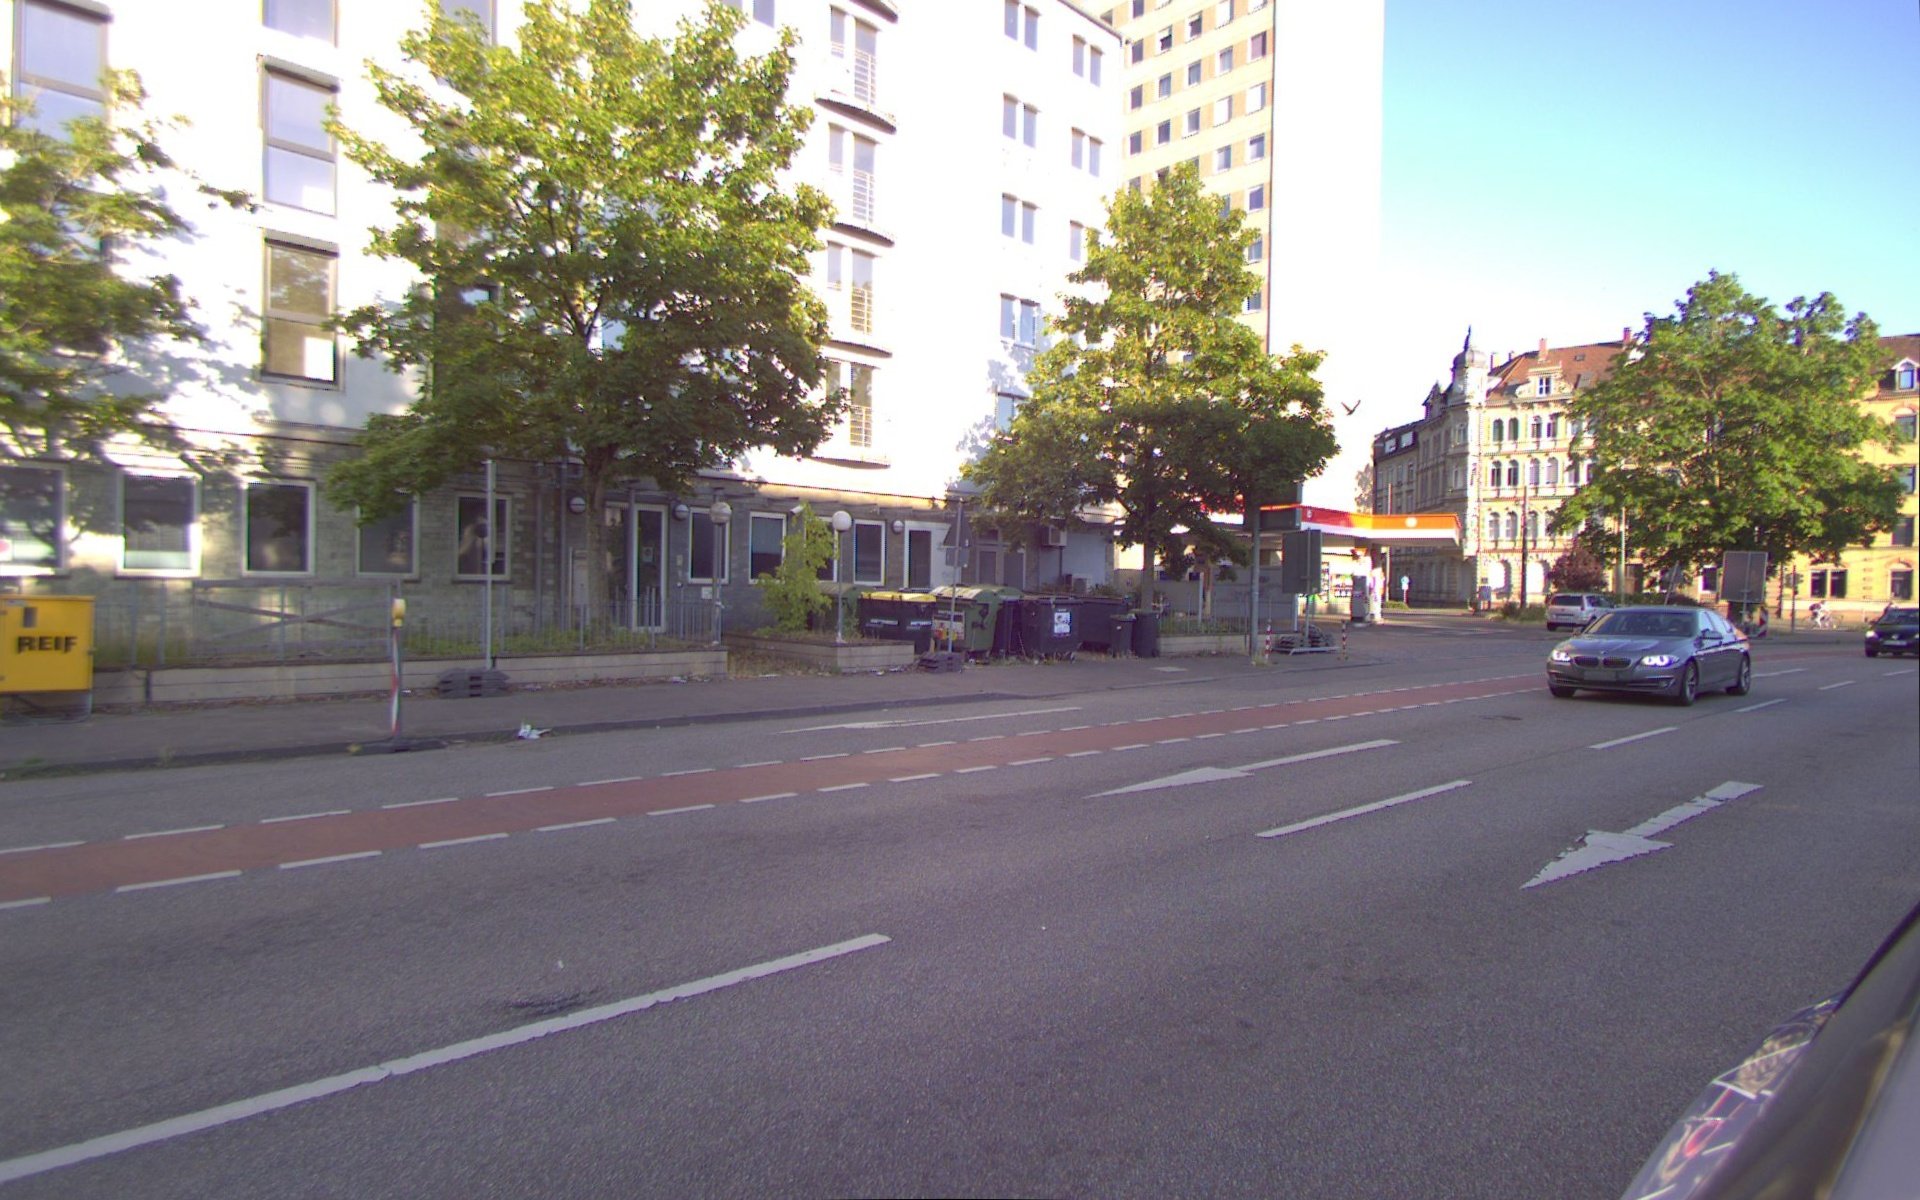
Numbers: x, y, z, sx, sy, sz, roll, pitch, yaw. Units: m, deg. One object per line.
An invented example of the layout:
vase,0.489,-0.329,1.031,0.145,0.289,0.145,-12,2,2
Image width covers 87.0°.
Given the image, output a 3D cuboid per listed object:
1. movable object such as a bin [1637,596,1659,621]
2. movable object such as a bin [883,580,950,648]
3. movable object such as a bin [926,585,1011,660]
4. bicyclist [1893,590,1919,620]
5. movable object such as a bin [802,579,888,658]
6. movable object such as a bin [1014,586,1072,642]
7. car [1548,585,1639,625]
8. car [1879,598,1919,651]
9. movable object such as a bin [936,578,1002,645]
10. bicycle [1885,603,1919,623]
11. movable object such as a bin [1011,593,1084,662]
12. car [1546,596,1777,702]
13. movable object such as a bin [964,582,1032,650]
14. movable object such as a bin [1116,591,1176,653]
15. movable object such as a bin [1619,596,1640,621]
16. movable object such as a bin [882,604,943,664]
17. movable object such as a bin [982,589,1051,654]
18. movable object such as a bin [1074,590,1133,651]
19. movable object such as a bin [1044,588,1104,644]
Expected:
movable object such as a bin,29.081,0.374,42.789,0.675,1.031,0.544,0,1,-36
movable object such as a bin,-1.006,0.300,23.321,1.143,1.517,1.033,0,1,-44
movable object such as a bin,0.168,0.420,20.516,1.088,1.441,1.348,0,1,-45
bicyclist,53.427,0.263,57.150,1.062,1.670,0.721,2,1,43
movable object such as a bin,-2.288,0.341,20.101,1.088,1.479,1.348,0,1,-45
movable object such as a bin,2.060,0.332,25.044,1.080,1.345,0.954,0,1,-44
car,25.430,0.167,40.597,3.723,1.536,1.691,-1,2,-34
car,28.331,0.694,29.715,3.804,1.467,1.583,0,0,-41
movable object such as a bin,0.211,0.261,23.883,1.143,1.517,1.033,0,1,-44
bicycle,53.458,0.730,57.013,1.920,1.072,0.444,2,1,43
movable object such as a bin,1.798,0.542,20.783,1.143,1.345,0.954,0,1,-44
car,11.325,0.678,16.217,4.582,1.467,1.819,0,0,-38
movable object such as a bin,0.860,0.347,22.890,1.143,1.467,1.033,0,1,-44
movable object such as a bin,4.198,0.474,22.872,0.938,1.345,0.954,0,1,-43
movable object such as a bin,28.768,0.360,43.475,0.675,1.031,0.544,0,1,-36
movable object such as a bin,-0.900,0.627,19.169,0.851,1.058,0.806,2,1,45
movable object such as a bin,1.218,0.436,21.760,1.143,1.345,0.954,0,1,-44
movable object such as a bin,3.302,0.459,23.336,0.938,1.345,0.954,0,1,-43
movable object such as a bin,2.739,0.361,24.315,1.080,1.299,0.954,0,1,-44
